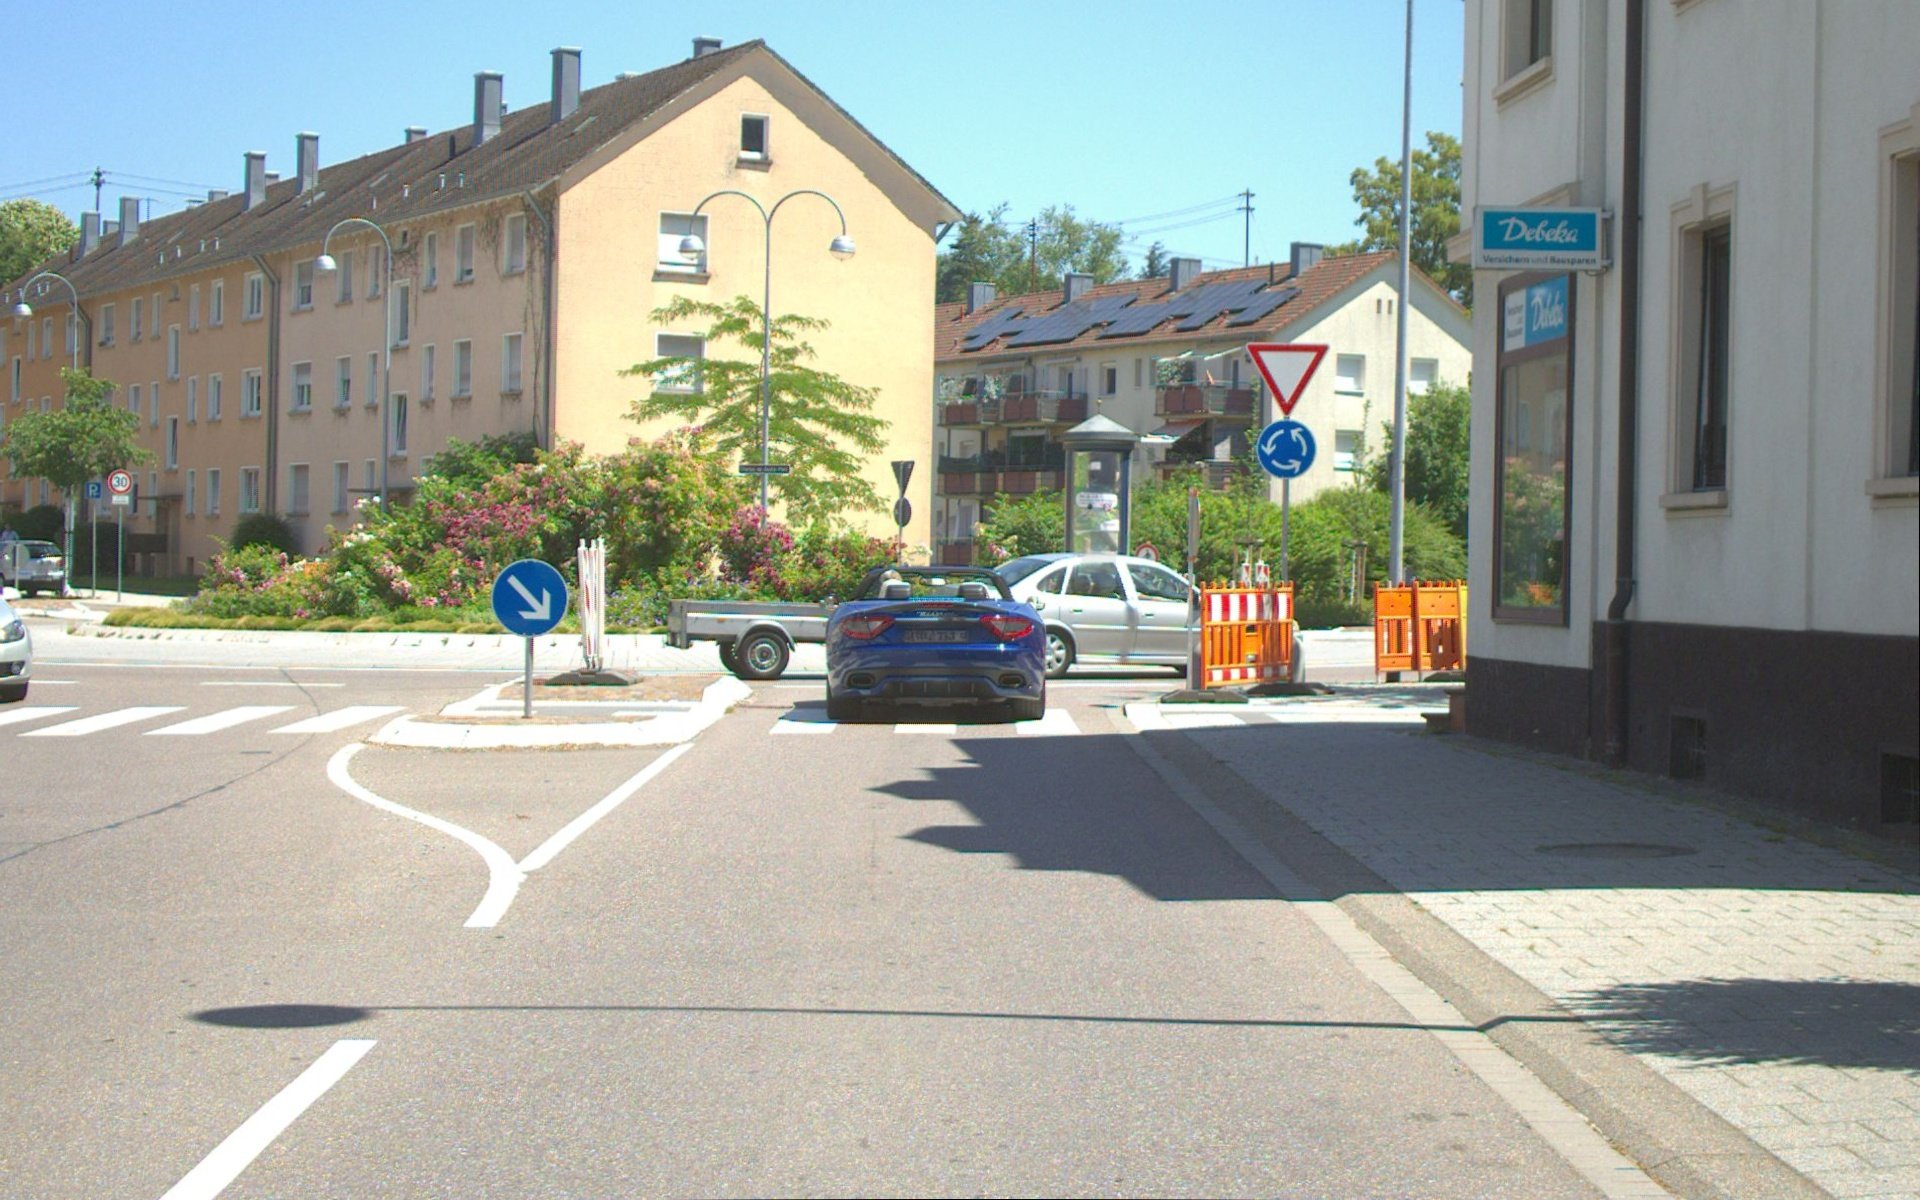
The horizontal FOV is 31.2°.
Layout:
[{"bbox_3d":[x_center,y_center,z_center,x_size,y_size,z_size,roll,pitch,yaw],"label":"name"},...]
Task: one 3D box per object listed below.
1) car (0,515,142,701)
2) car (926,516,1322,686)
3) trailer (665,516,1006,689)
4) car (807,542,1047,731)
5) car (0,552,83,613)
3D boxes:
[{"bbox_3d":[-9.645,0.086,33.655,1.838,1.524,4.393,-4,4,4],"label":"car"},{"bbox_3d":[1.886,0.018,39.148,4.114,1.741,1.787,3,0,-30],"label":"car"},{"bbox_3d":[-1.351,0.024,37.364,3.186,1.711,1.757,3,0,-28],"label":"trailer"},{"bbox_3d":[-0.374,0.337,30.759,1.870,1.525,4.507,1,-1,-4],"label":"car"},{"bbox_3d":[-24.618,-0.481,90.676,1.812,1.495,4.000,3,0,-30],"label":"car"}]
